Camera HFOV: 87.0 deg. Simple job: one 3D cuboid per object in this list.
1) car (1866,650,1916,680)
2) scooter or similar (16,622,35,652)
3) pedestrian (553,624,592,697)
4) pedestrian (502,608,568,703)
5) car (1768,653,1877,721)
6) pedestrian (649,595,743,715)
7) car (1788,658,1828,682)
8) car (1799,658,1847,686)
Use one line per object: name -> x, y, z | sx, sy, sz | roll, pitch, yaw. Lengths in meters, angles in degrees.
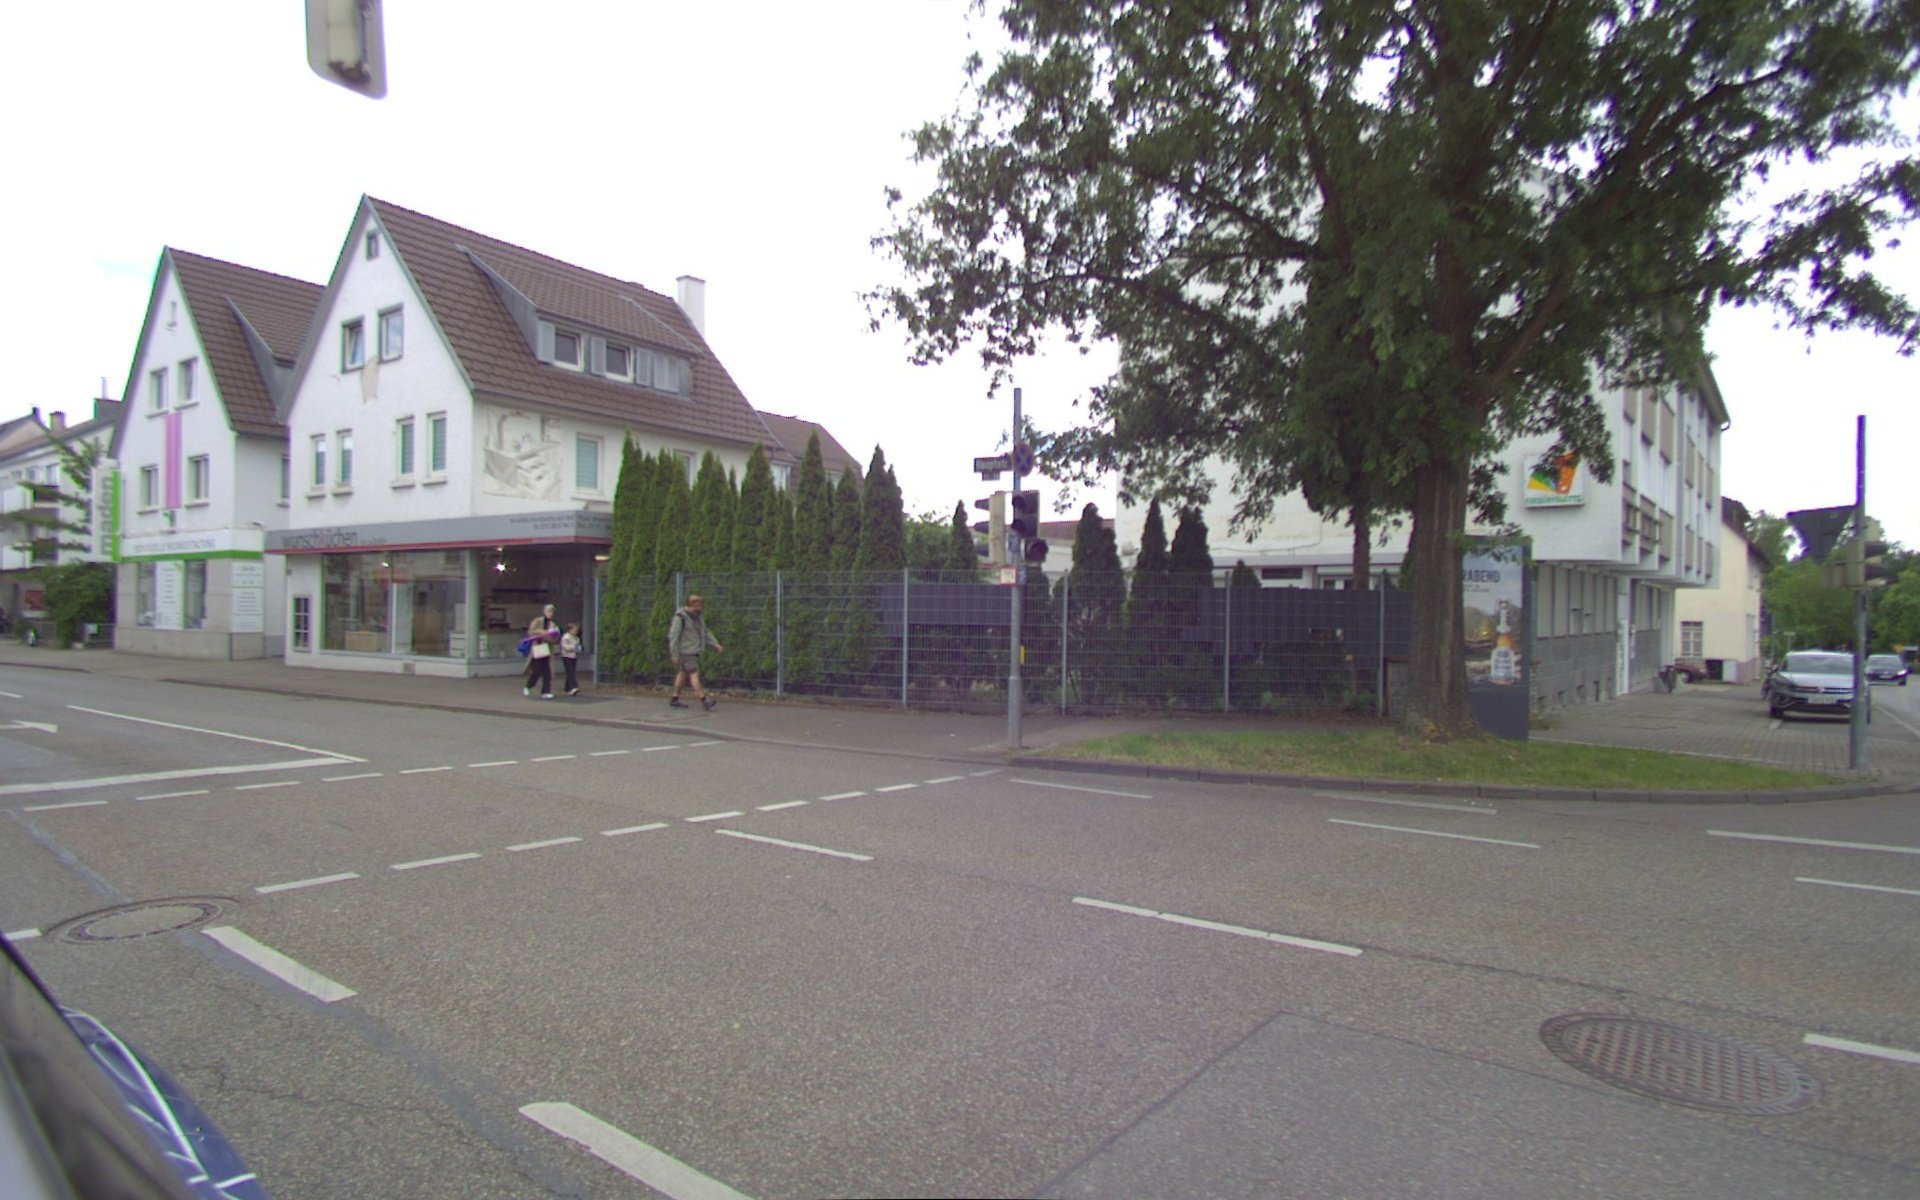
car -> 51.797, 3.584, 56.360 | 1.740, 1.528, 3.948 | -1, -2, 39
scooter or similar -> -36.765, 1.440, 39.838 | 0.458, 1.132, 1.830 | 0, -1, -40
pedestrian -> -6.936, 1.079, 18.108 | 0.547, 1.271, 0.379 | 0, 0, 25
pedestrian -> -7.451, 0.949, 17.752 | 0.862, 1.617, 0.636 | 0, 0, 25
car -> 19.991, 1.981, 23.410 | 1.757, 1.409, 3.594 | -2, -4, 43
pedestrian -> -4.077, 0.814, 15.613 | 1.227, 1.767, 0.814 | 0, 0, 36
car -> 54.216, 4.432, 64.736 | 1.791, 1.472, 4.359 | -2, -4, 38
car -> 47.228, 3.916, 55.449 | 1.791, 1.472, 4.359 | -2, -4, 38
